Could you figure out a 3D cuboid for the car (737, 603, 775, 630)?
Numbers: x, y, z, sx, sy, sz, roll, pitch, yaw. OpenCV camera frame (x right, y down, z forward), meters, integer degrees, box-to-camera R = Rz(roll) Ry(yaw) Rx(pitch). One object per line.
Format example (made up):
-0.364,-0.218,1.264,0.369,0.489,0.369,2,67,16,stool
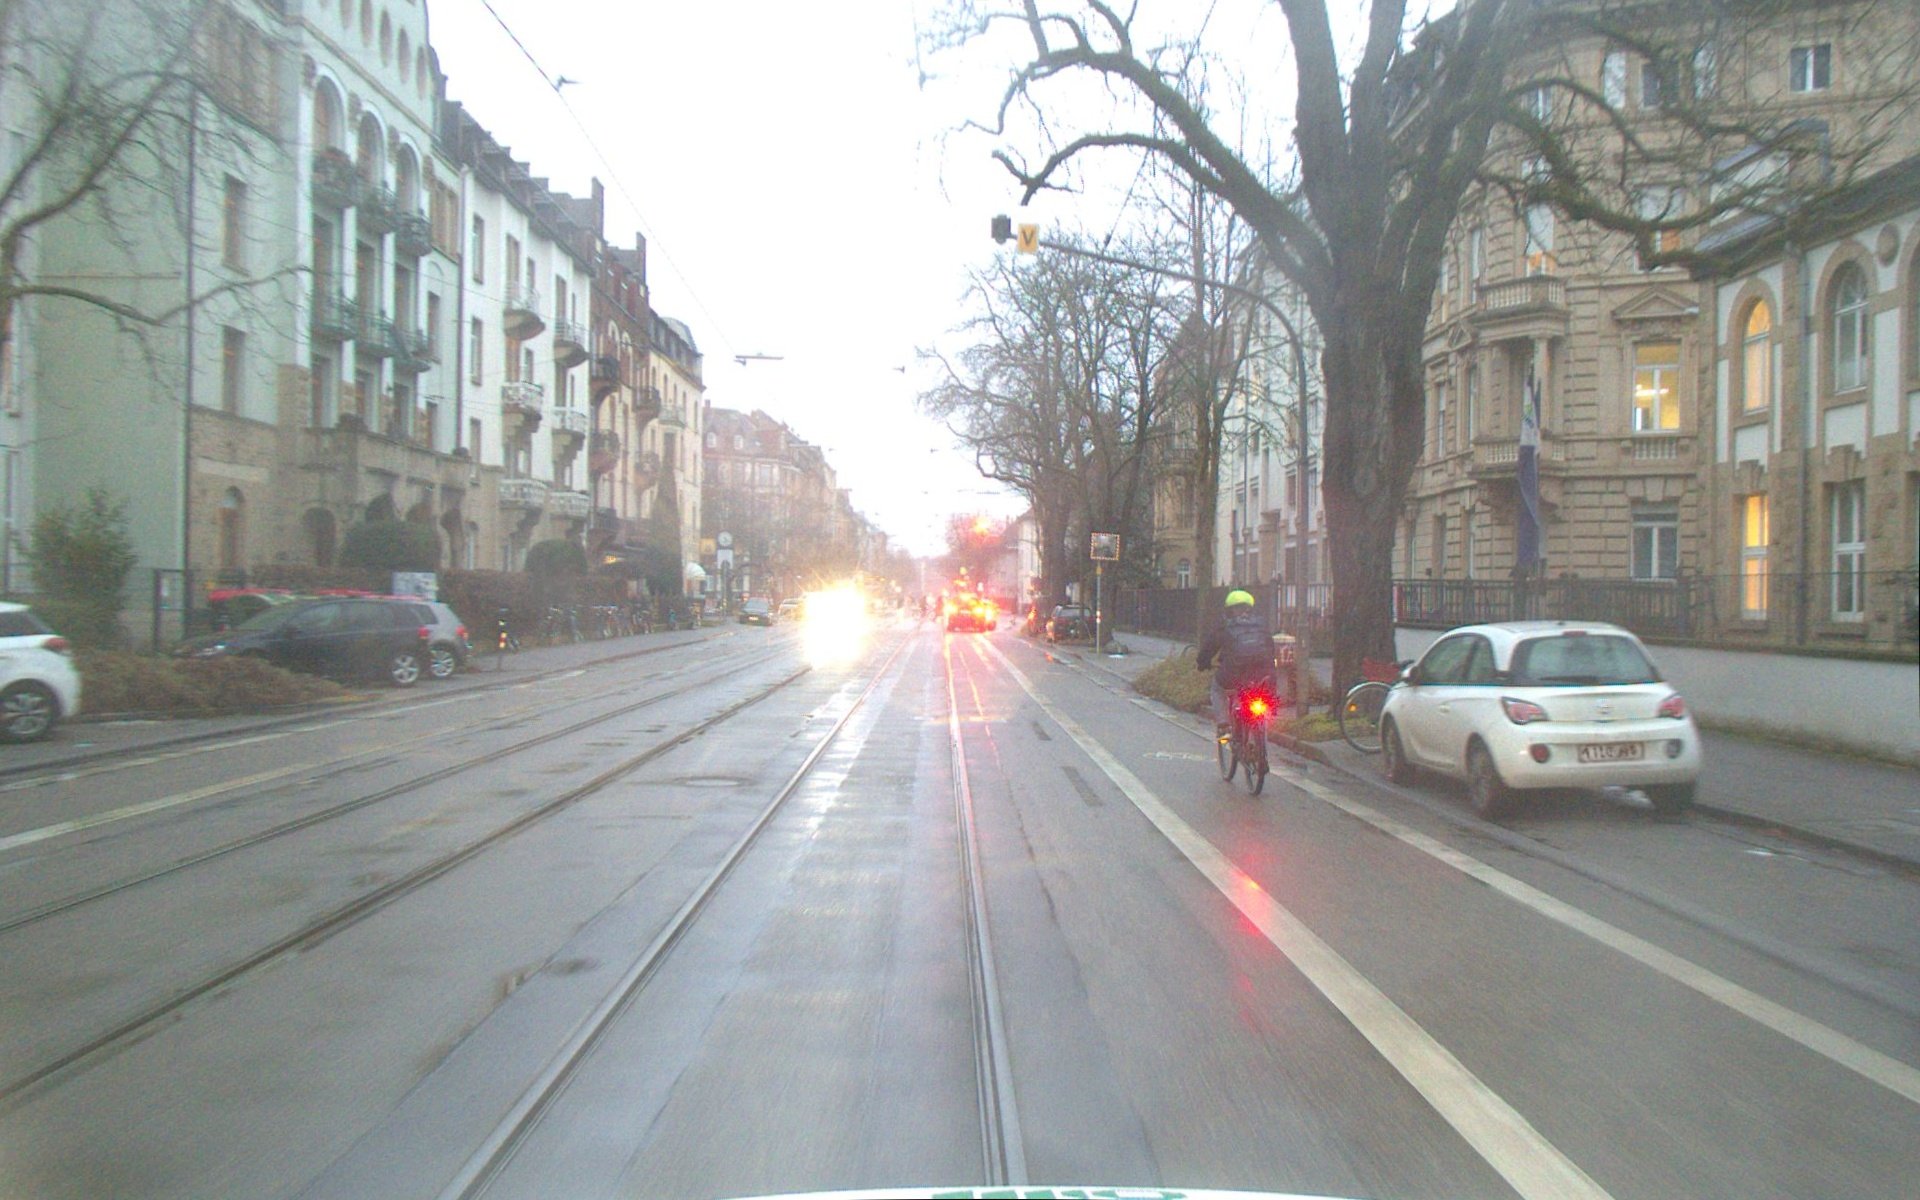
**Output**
-11.973,0.947,97.237,1.796,1.472,4.000,0,1,-1,car

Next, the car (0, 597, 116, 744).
-10.781,0.719,16.565,1.707,1.448,3.827,1,1,43,car

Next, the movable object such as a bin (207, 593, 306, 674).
-13.323,0.620,31.356,1.236,1.476,1.326,0,1,6,movable object such as a bin

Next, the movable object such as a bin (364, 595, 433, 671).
-11.316,0.644,33.329,1.246,1.476,1.104,0,1,-23,movable object such as a bin

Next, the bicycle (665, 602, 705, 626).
-12.621,0.628,76.020,1.771,1.099,0.615,0,1,-8,bicycle

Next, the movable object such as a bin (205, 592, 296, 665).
-14.737,0.577,34.399,1.236,1.476,1.326,0,1,6,movable object such as a bin

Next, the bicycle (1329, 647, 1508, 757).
4.733,1.042,17.136,1.678,1.089,0.663,0,1,-1,bicycle

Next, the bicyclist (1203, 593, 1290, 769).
2.476,0.683,14.355,0.642,1.471,0.850,0,1,3,bicyclist

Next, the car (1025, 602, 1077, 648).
4.052,1.107,74.487,1.953,1.933,5.026,0,1,-2,car

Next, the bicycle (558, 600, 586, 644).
-11.076,0.616,47.235,0.679,1.233,1.593,0,1,-10,bicycle

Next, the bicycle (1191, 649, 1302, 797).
2.478,1.037,14.502,0.692,1.116,2.030,0,1,2,bicycle

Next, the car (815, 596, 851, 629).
-7.849,0.752,102.398,2.005,1.956,5.098,0,1,-2,car

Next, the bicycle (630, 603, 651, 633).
-11.199,0.627,57.999,0.679,1.049,1.593,0,-1,-10,bicycle

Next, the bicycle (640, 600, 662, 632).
-11.185,0.574,59.892,0.476,1.119,1.930,-1,0,-2,bicycle

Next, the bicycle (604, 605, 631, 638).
-11.067,0.683,53.531,0.679,1.049,1.594,0,0,-6,bicycle

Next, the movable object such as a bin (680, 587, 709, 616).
-14.705,0.083,91.643,1.380,1.557,1.364,0,1,-1,movable object such as a bin

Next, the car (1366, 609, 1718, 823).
4.826,0.882,14.255,1.657,1.546,3.636,0,1,-2,car

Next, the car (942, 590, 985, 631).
0.130,0.549,82.168,1.953,1.930,4.757,2,-1,-2,car

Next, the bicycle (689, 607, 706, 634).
-11.240,0.879,70.832,0.602,1.099,1.809,0,1,-5,bicycle

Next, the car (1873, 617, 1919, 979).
5.026,0.889,5.715,1.610,1.550,3.570,1,1,-3,car

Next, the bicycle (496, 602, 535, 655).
-10.765,0.682,40.086,0.679,1.233,1.594,0,1,-6,bicycle

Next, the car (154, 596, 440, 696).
-10.744,0.689,26.990,1.801,1.496,3.973,1,0,44,car

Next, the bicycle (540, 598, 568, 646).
-10.921,0.576,44.519,0.618,1.233,1.593,0,1,-10,bicycle

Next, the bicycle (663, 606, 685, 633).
-11.214,0.753,64.946,0.613,1.035,1.805,-1,0,-2,bicycle

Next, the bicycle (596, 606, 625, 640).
-10.934,0.707,51.769,0.678,1.049,1.593,0,0,-5,bicycle

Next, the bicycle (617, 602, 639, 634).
-11.117,0.615,55.373,0.679,1.049,1.592,0,-1,-10,bicycle

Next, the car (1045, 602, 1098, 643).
4.210,0.827,62.998,1.643,1.485,4.041,0,0,-2,car

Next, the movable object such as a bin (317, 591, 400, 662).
-12.973,0.559,35.711,1.236,1.476,1.326,0,1,6,movable object such as a bin

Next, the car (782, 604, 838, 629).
-10.991,1.192,121.170,3.905,1.758,1.740,0,1,1,car

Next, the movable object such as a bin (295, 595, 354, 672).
-12.617,0.654,32.845,1.074,1.476,1.104,0,1,-22,movable object such as a bin

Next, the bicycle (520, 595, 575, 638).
-12.688,0.501,50.884,1.556,1.286,0.490,-1,-5,3,bicycle

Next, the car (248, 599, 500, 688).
-10.613,0.729,30.099,3.969,1.453,1.819,-1,1,-44,car
